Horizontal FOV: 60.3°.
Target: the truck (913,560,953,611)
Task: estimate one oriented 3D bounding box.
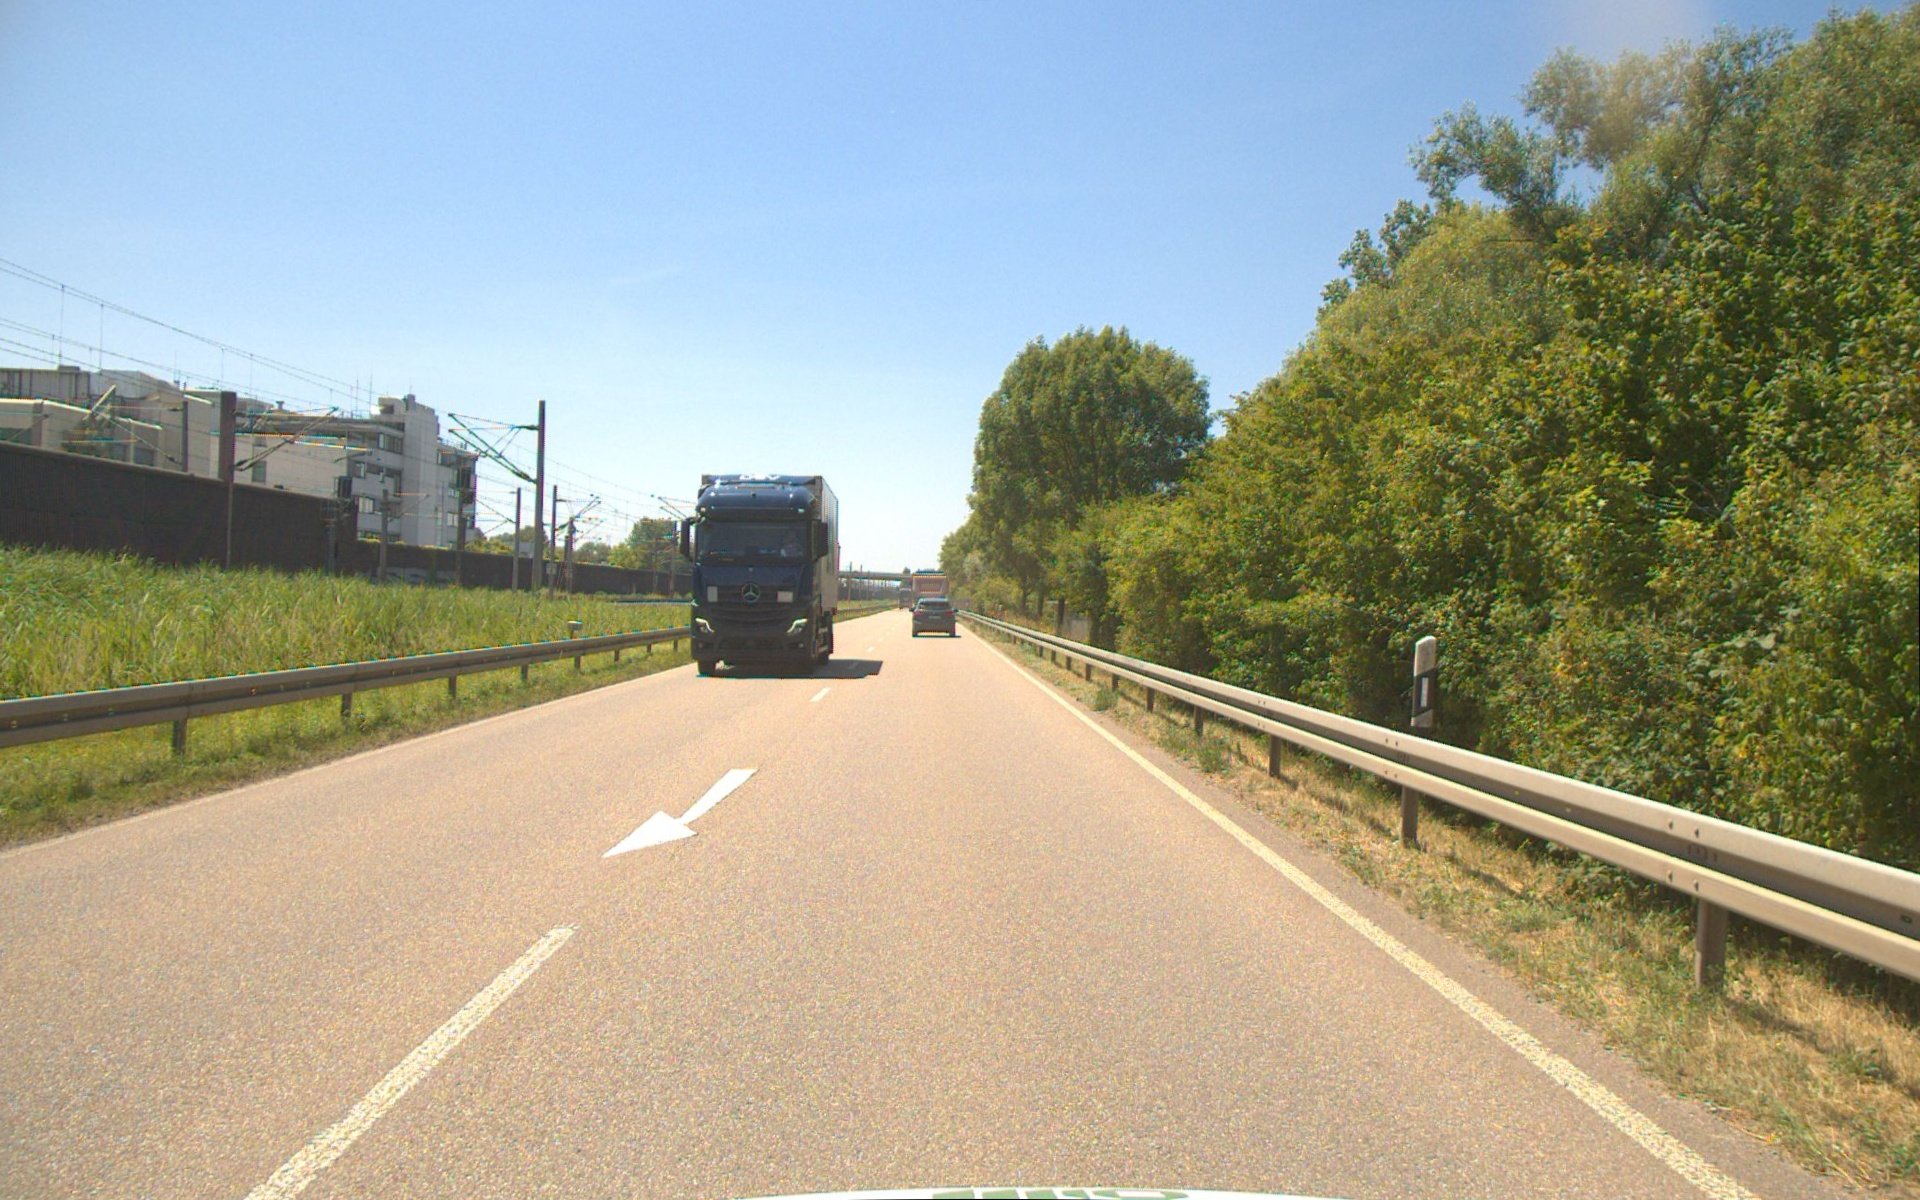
[{"bbox_3d":[-1.947,-0.963,119.891,2.714,3.485,10.816,1,0,-1],"label":"truck"}]

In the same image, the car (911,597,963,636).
[{"bbox_3d":[-0.976,0.655,68.251,1.954,1.534,3.997,0,0,-3],"label":"car"}]

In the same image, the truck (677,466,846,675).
[{"bbox_3d":[-4.222,-0.598,37.379,2.740,4.047,10.497,0,0,-1],"label":"truck"}]
